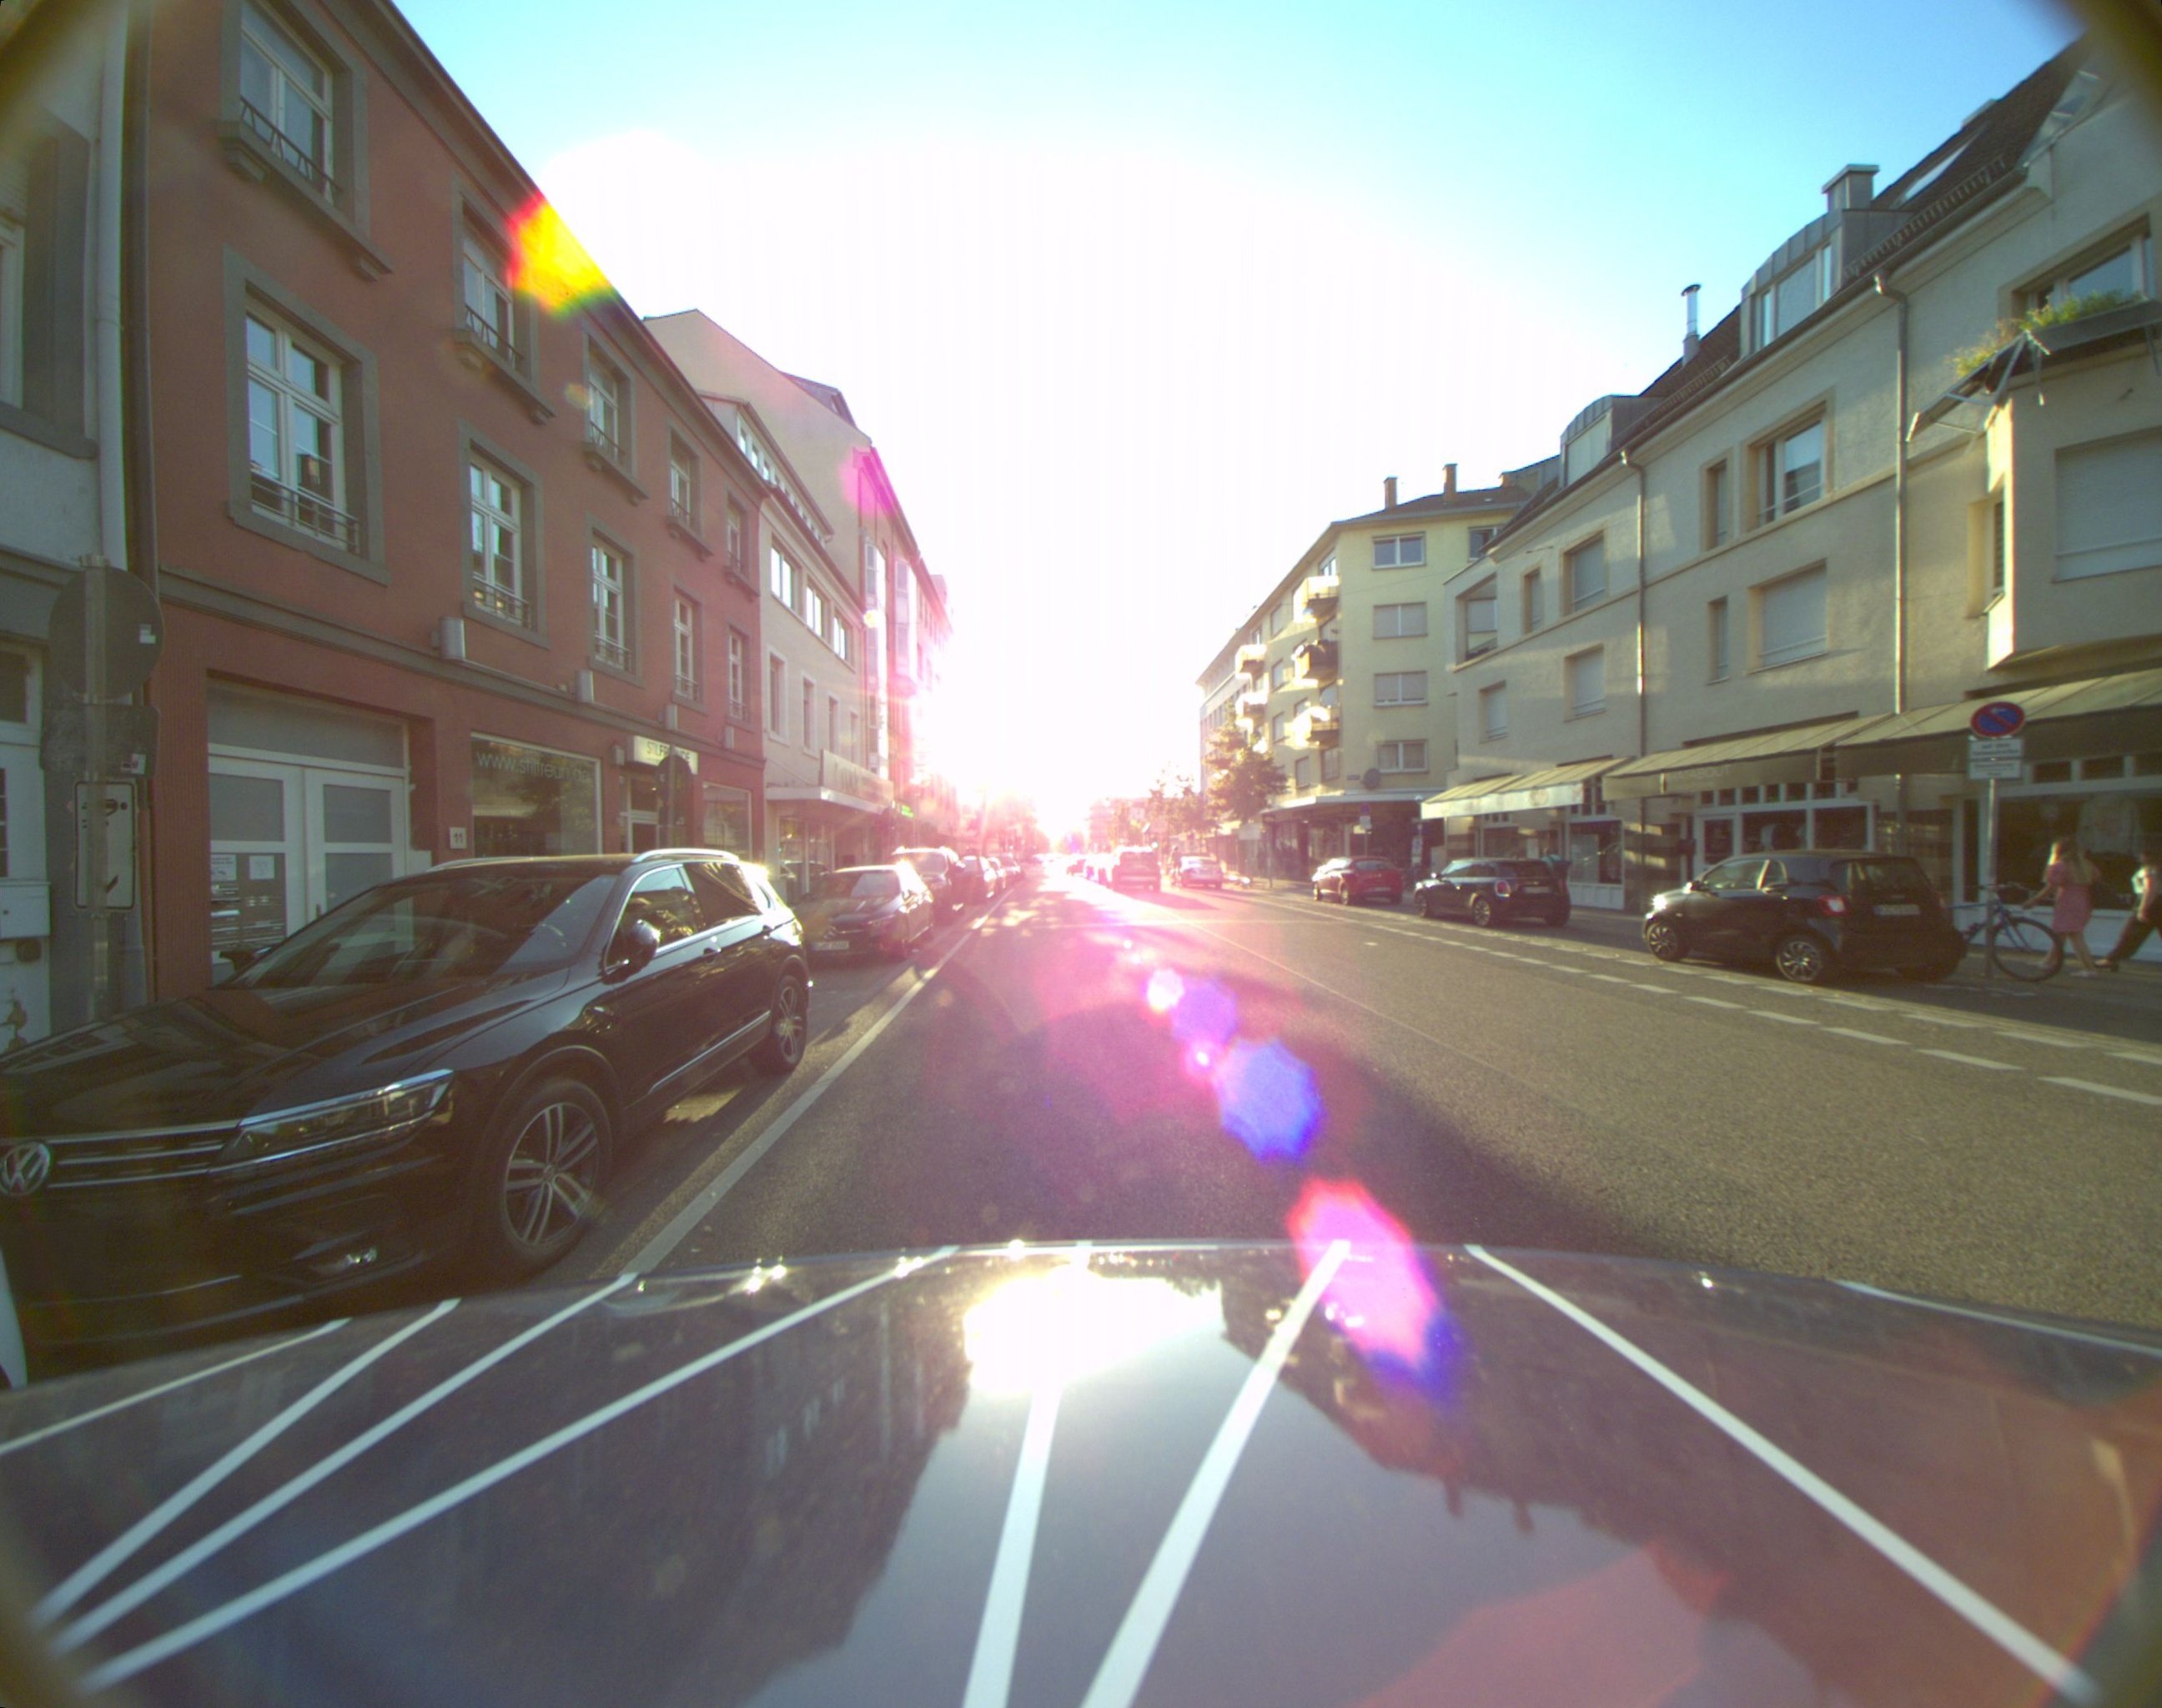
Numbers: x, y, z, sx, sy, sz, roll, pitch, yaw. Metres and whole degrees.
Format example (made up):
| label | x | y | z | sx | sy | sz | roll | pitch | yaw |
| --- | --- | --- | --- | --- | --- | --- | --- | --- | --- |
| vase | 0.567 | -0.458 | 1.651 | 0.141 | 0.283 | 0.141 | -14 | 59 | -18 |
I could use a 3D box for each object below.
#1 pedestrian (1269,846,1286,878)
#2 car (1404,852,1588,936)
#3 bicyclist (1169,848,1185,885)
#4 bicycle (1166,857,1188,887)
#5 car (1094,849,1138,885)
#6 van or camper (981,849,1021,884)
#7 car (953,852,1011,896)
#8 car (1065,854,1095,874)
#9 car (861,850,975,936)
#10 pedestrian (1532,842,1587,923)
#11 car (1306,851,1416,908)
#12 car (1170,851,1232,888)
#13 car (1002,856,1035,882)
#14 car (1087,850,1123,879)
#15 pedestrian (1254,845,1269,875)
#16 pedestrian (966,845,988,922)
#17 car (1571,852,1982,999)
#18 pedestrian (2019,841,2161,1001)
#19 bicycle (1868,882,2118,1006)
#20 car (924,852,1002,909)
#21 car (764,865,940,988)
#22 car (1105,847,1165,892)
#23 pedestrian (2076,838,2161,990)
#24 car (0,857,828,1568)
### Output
| label | x | y | z | sx | sy | sz | roll | pitch | yaw |
| --- | --- | --- | --- | --- | --- | --- | --- | --- | --- |
| pedestrian | 11.096 | 0.464 | 42.909 | 0.720 | 1.781 | 0.666 | -1 | 1 | -1 |
| car | 8.858 | 0.768 | 16.623 | 1.794 | 1.571 | 3.785 | -1 | 1 | -4 |
| bicyclist | 4.082 | 0.515 | 32.383 | 0.548 | 1.571 | 0.803 | -1 | 1 | 1 |
| bicycle | 4.088 | 0.748 | 32.523 | 0.665 | 1.235 | 2.130 | 1 | 1 | 1 |
| car | 1.684 | 0.587 | 37.843 | 1.843 | 1.639 | 4.299 | 1 | 1 | -2 |
| van or camper | -4.290 | 0.647 | 41.323 | 1.793 | 1.763 | 4.556 | -1 | 1 | -2 |
| car | -4.046 | 0.764 | 31.669 | 1.999 | 1.645 | 4.478 | -1 | 1 | -3 |
| car | -0.089 | 0.767 | 58.345 | 1.504 | 1.426 | 4.023 | 1 | 1 | -11 |
| car | -3.871 | 0.821 | 19.010 | 1.999 | 1.767 | 5.316 | -2 | 1 | -4 |
| pedestrian | 10.554 | 0.613 | 16.786 | 0.720 | 1.724 | 0.738 | -1 | 1 | -2 |
| car | 8.541 | 0.720 | 23.531 | 1.794 | 1.571 | 3.785 | -1 | 1 | -4 |
| car | 5.478 | 0.678 | 35.266 | 1.999 | 1.595 | 4.403 | 0 | 0 | -3 |
| car | -3.798 | 0.889 | 46.838 | 1.694 | 1.494 | 3.786 | -1 | 1 | 0 |
| car | 1.415 | 0.611 | 46.348 | 1.843 | 1.639 | 4.299 | 1 | 1 | -3 |
| pedestrian | 10.680 | 0.352 | 44.966 | 0.720 | 1.781 | 0.666 | -1 | 1 | -1 |
| pedestrian | -2.549 | 0.712 | 18.614 | 0.485 | 1.847 | 0.539 | -1 | 1 | -10 |
| car | 8.935 | 0.775 | 10.325 | 1.794 | 1.571 | 3.965 | -1 | 1 | -4 |
| pedestrian | 11.526 | 0.702 | 8.557 | 0.632 | 1.690 | 1.040 | -1 | 1 | -2 |
| bicycle | 10.506 | 0.971 | 8.891 | 0.560 | 1.199 | 1.977 | 0 | 1 | 1 |
| car | -3.887 | 0.815 | 25.821 | 1.999 | 1.645 | 4.626 | -2 | 1 | -1 |
| car | -3.536 | 1.023 | 12.606 | 1.689 | 1.479 | 4.409 | -3 | 1 | -3 |
| car | 2.064 | 0.542 | 30.228 | 1.843 | 1.639 | 4.298 | 1 | 1 | -3 |
| pedestrian | 12.272 | 0.661 | 8.740 | 0.561 | 1.690 | 0.831 | -1 | 1 | -2 |
| car | -2.968 | 0.929 | 4.101 | 1.799 | 1.688 | 4.458 | -3 | 1 | -3 |
